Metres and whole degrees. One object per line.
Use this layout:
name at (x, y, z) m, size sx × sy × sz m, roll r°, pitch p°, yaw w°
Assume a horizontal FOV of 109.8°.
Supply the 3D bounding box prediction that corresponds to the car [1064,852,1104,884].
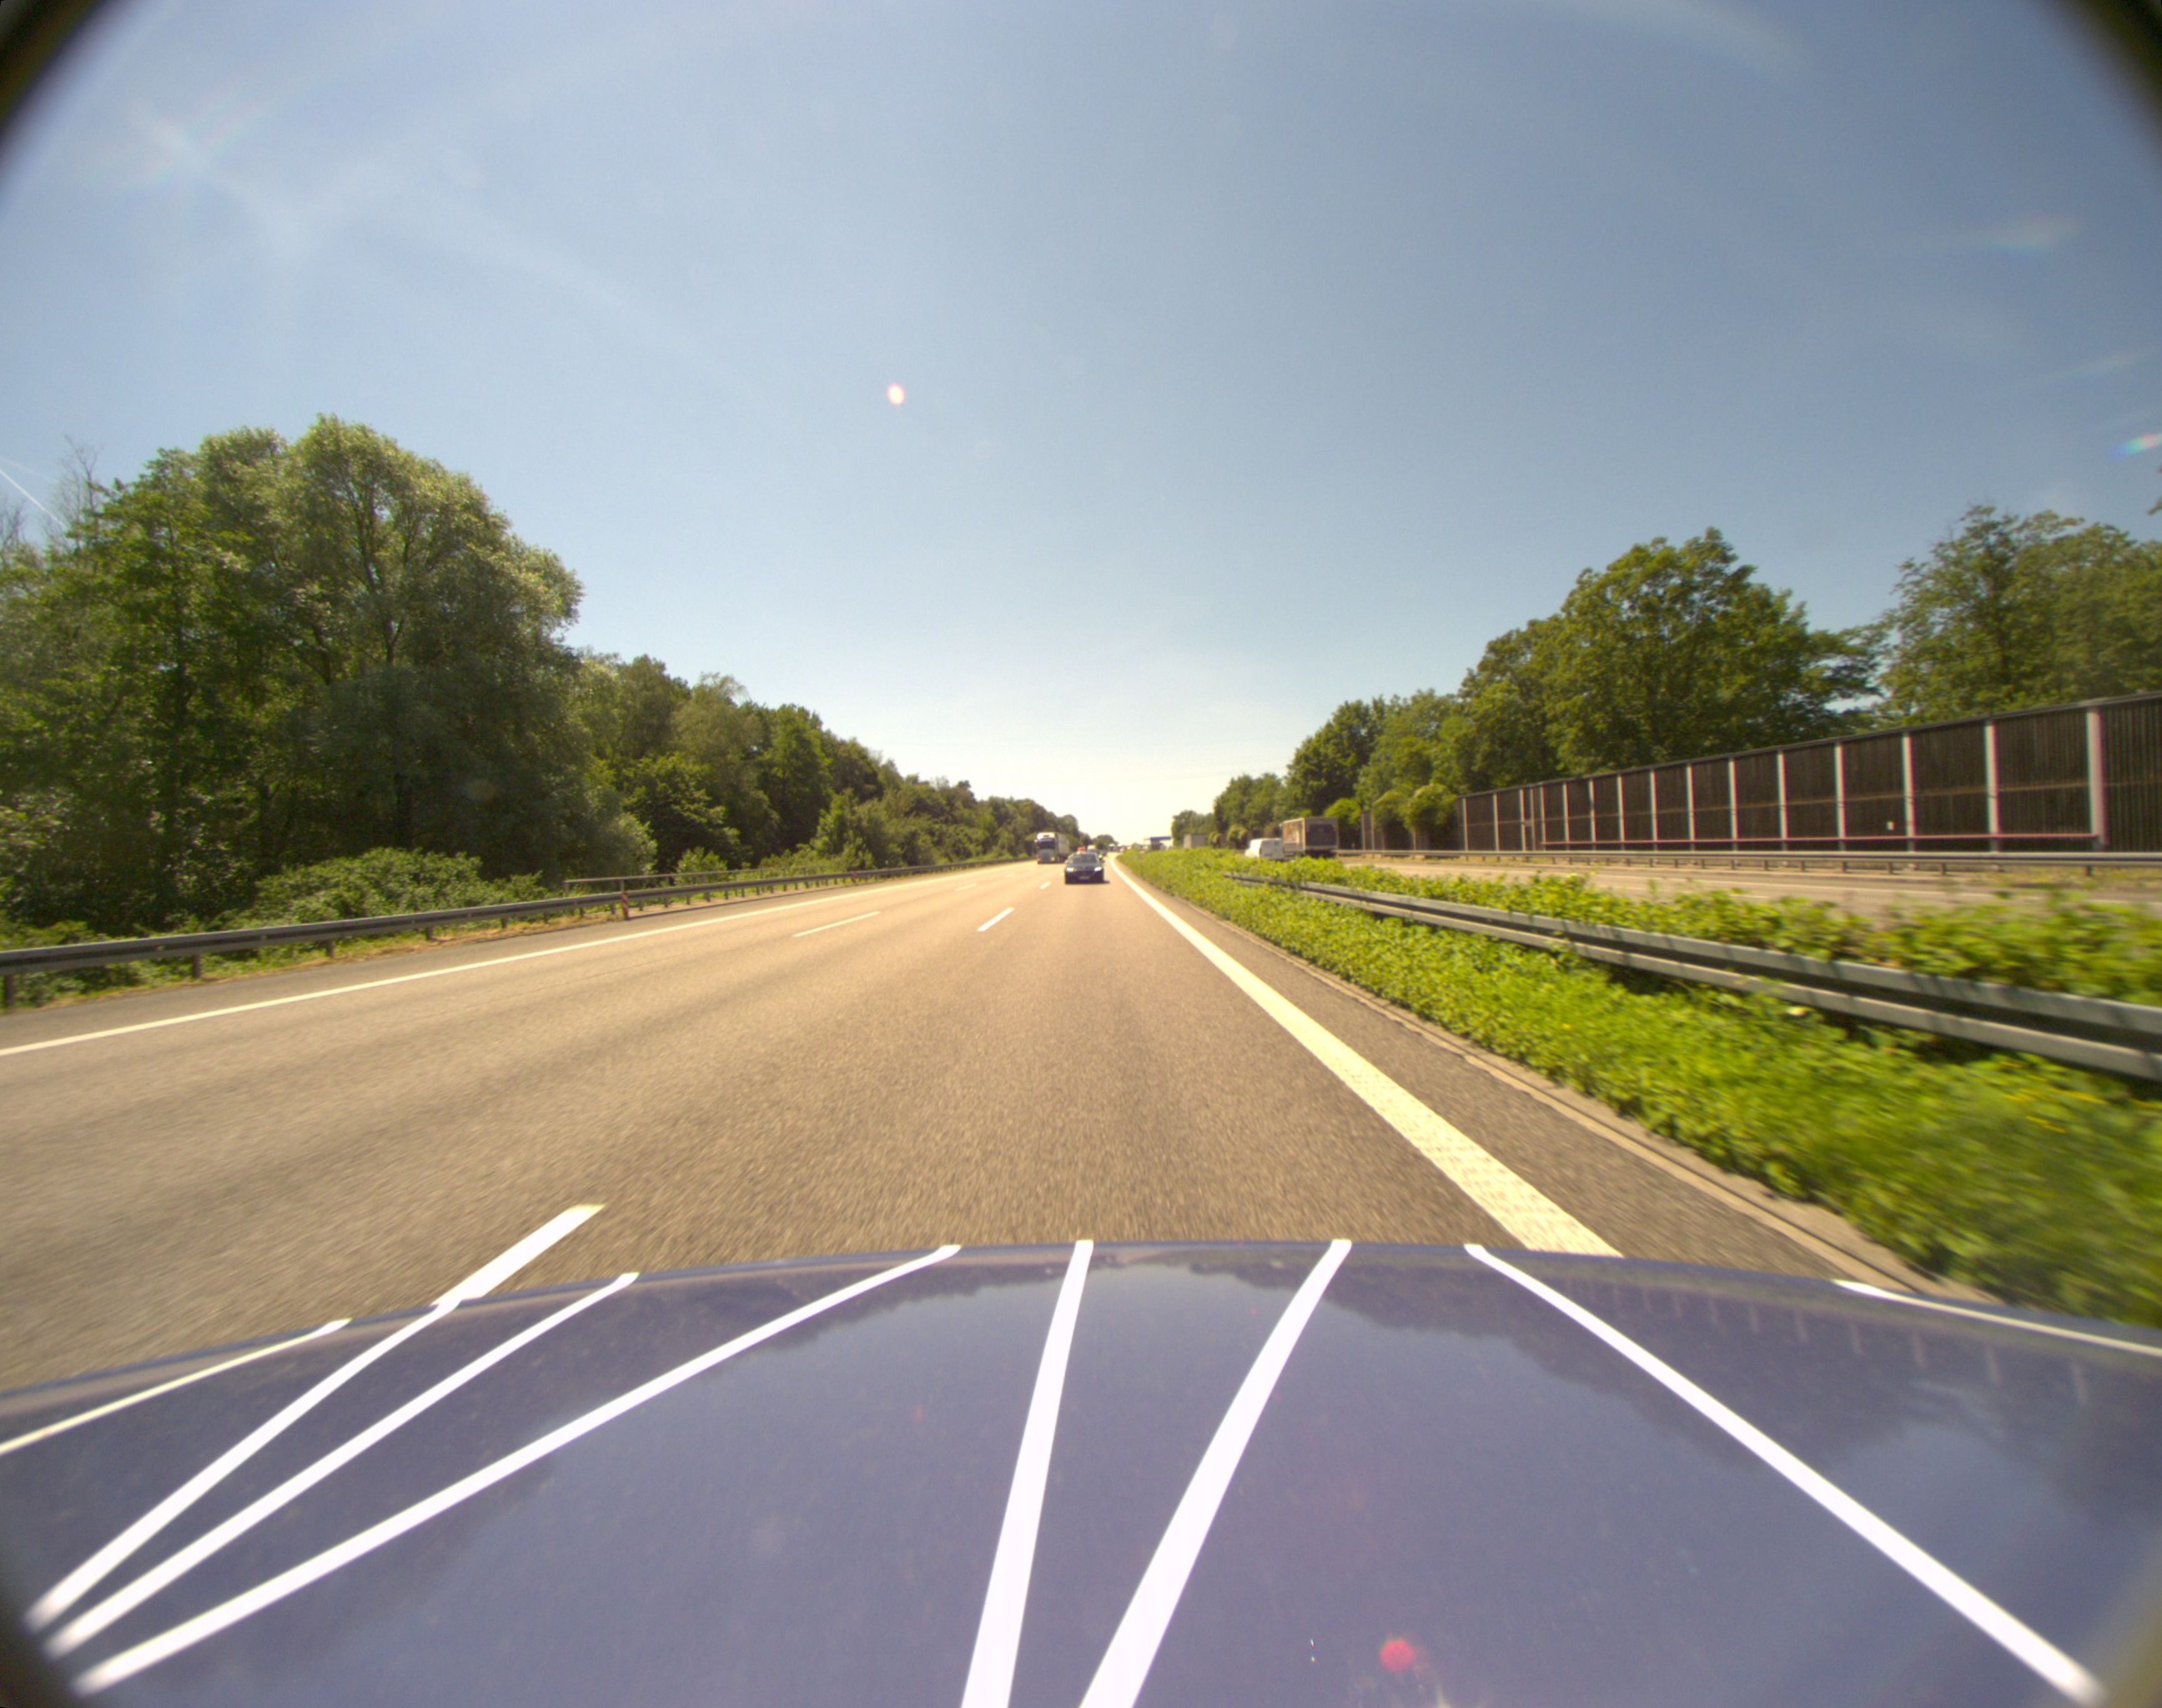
car at (0.156, 0.648, 37.693) m, size 1.800 × 1.390 × 4.833 m, roll -2°, pitch 0°, yaw 1°

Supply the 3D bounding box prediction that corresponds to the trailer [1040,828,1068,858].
trailer at (-3.674, -1.488, 106.177) m, size 2.747 × 3.952 × 13.654 m, roll -2°, pitch 0°, yaw 2°

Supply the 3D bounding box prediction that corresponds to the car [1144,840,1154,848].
car at (13.072, -1.880, 145.859) m, size 1.630 × 1.382 × 3.913 m, roll -2°, pitch 1°, yaw 1°

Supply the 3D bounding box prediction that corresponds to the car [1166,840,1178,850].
car at (17.637, -1.795, 147.423) m, size 1.872 × 1.809 × 4.817 m, roll -2°, pitch 1°, yaw 2°

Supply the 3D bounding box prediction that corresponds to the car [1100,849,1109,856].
car at (5.383, -0.354, 171.584) m, size 1.879 × 1.630 × 4.000 m, roll -2°, pitch 0°, yaw 3°

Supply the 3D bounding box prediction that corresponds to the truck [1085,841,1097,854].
truck at (2.661, -1.650, 201.733) m, size 2.859 × 3.163 × 10.711 m, roll -2°, pitch 0°, yaw 1°

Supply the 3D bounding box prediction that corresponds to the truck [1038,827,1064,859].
truck at (-3.900, -1.436, 99.428) m, size 2.729 × 3.952 × 6.501 m, roll -2°, pitch 1°, yaw 2°

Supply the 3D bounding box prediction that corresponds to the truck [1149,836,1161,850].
truck at (17.382, -2.497, 178.831) m, size 2.199 × 3.096 × 8.534 m, roll -2°, pitch 0°, yaw 2°

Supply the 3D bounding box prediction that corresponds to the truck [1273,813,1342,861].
truck at (18.392, -1.328, 62.531) m, size 2.877 × 3.584 × 9.951 m, roll -2°, pitch 1°, yaw 1°

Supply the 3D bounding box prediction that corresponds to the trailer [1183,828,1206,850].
trailer at (21.593, -2.761, 145.692) m, size 2.736 × 3.887 × 13.762 m, roll -2°, pitch 0°, yaw 2°

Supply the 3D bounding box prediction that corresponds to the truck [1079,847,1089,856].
truck at (0.813, -0.871, 217.384) m, size 2.437 × 2.426 × 10.010 m, roll -2°, pitch 0°, yaw 2°

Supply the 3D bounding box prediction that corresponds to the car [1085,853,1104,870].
car at (1.431, 0.752, 79.422) m, size 1.862 × 1.614 × 3.737 m, roll -2°, pitch 0°, yaw 1°

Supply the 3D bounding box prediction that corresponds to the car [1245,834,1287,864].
car at (13.686, -0.379, 56.554) m, size 1.998 × 2.002 × 5.102 m, roll -2°, pitch 1°, yaw 2°
